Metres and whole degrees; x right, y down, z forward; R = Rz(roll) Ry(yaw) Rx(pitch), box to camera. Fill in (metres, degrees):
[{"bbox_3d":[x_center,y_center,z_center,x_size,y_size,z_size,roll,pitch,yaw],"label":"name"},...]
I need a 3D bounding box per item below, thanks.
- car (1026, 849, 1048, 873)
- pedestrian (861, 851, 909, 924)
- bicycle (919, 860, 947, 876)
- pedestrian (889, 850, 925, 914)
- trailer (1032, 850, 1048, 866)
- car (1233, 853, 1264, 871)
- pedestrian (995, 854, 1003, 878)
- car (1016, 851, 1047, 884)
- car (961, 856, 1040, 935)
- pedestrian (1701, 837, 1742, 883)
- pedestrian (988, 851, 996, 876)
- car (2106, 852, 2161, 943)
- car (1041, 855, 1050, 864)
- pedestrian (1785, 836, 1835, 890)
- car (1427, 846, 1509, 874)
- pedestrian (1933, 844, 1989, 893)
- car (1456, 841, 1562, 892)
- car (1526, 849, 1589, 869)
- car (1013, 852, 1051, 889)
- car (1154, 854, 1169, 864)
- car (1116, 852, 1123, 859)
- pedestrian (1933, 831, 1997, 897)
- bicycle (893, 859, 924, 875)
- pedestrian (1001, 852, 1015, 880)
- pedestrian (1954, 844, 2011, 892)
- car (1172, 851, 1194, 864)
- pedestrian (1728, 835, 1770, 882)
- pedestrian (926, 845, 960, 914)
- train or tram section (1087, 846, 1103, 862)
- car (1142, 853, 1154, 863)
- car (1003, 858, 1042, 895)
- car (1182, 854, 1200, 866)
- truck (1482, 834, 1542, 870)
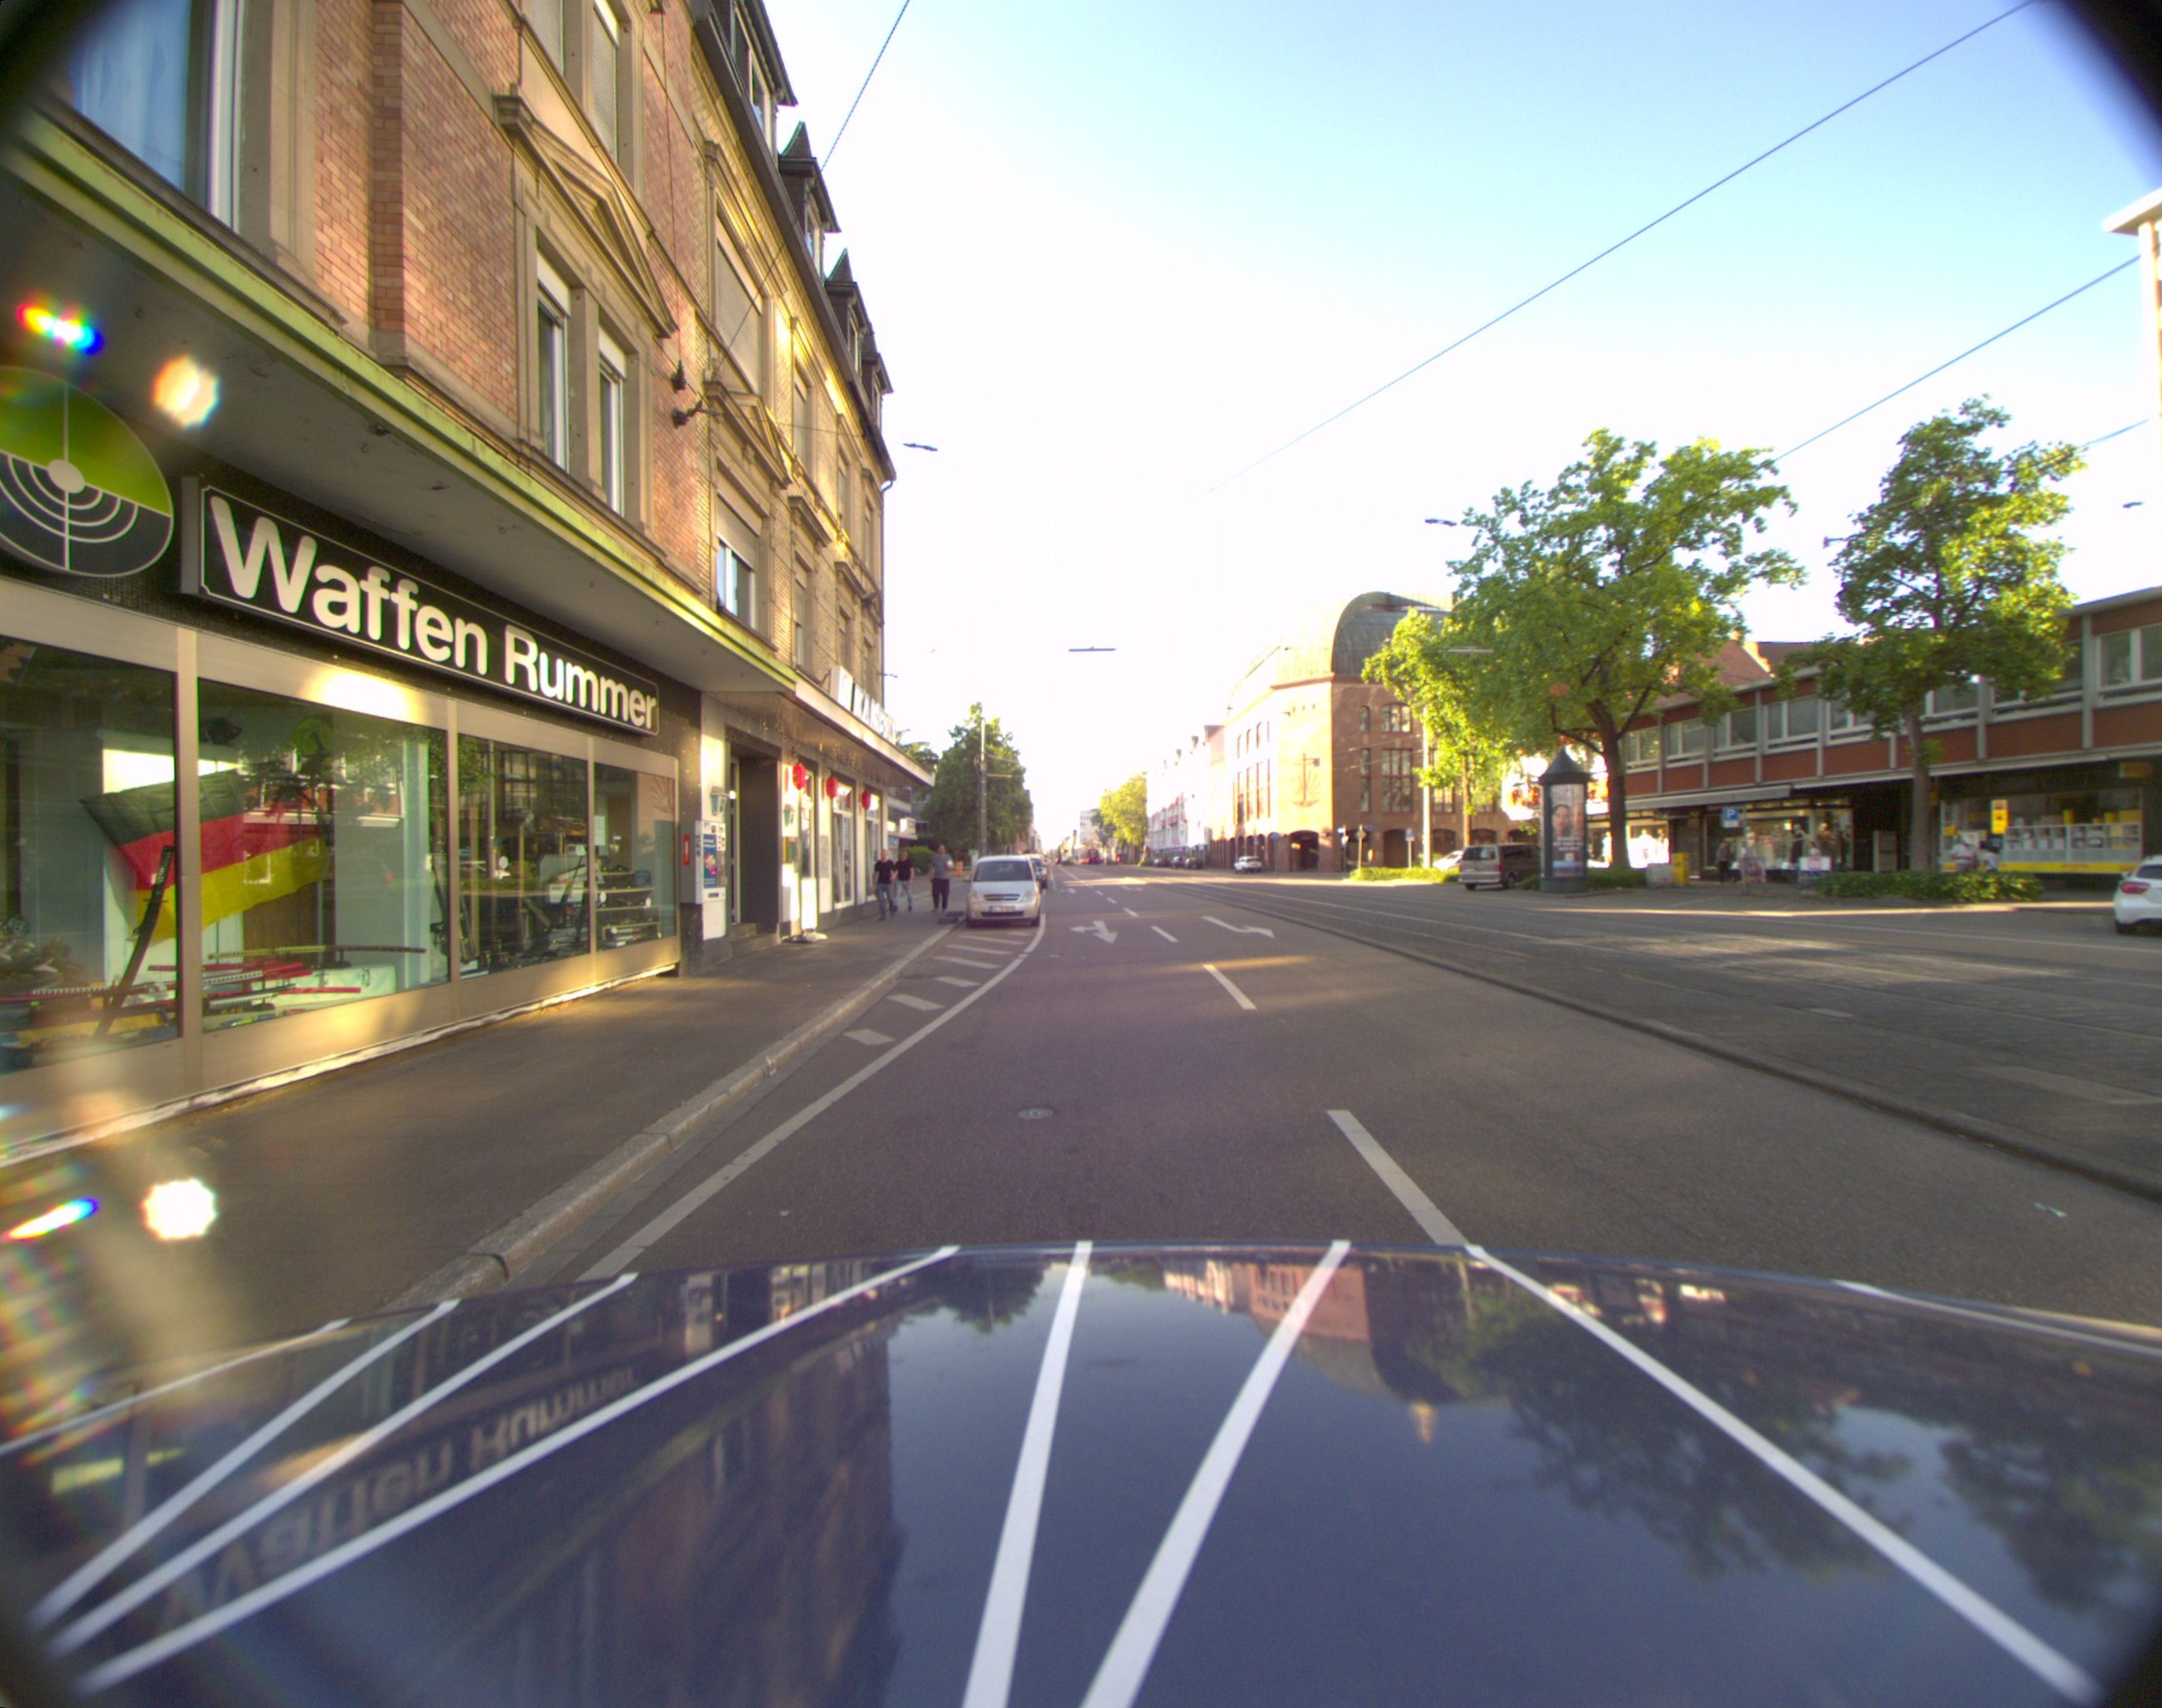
[{"bbox_3d":[-4.042,0.614,69.925,1.882,2.009,4.904,-2,0,-2],"label":"car"},{"bbox_3d":[-4.753,0.787,18.495,0.903,1.703,1.032,2,0,-5],"label":"pedestrian"},{"bbox_3d":[-10.392,0.991,53.551,1.886,1.090,0.469,0,1,-4],"label":"bicycle"},{"bbox_3d":[-4.861,0.772,21.280,0.813,1.746,1.032,0,1,-3],"label":"pedestrian"},{"bbox_3d":[-5.663,0.567,104.941,1.784,2.136,5.315,-2,0,0],"label":"trailer"},{"bbox_3d":[15.502,0.689,70.689,1.600,1.581,4.276,-3,0,-4],"label":"car"},{"bbox_3d":[-5.701,0.838,52.869,0.494,1.703,0.437,2,1,-3],"label":"pedestrian"},{"bbox_3d":[-2.914,0.754,45.264,1.680,1.797,4.247,-2,0,-3],"label":"car"},{"bbox_3d":[-1.830,0.893,18.141,1.642,1.605,3.943,-1,0,-4],"label":"car"},{"bbox_3d":[26.623,0.245,31.593,0.919,1.867,0.900,-1,1,-5],"label":"pedestrian"},{"bbox_3d":[-6.240,0.654,53.285,0.494,1.703,0.437,2,1,-3],"label":"pedestrian"},{"bbox_3d":[20.673,0.754,14.093,4.276,1.421,1.762,-3,1,-34],"label":"car"},{"bbox_3d":[-5.901,0.904,126.339,1.420,1.425,3.871,-2,0,-3],"label":"car"},{"bbox_3d":[25.862,0.323,26.982,0.919,1.867,0.900,-1,1,-5],"label":"pedestrian"},{"bbox_3d":[28.527,0.419,56.163,4.993,1.957,2.130,-1,3,-4],"label":"car"},{"bbox_3d":[27.309,0.428,23.594,0.689,1.488,0.900,-1,0,-5],"label":"pedestrian"},{"bbox_3d":[18.567,0.473,32.906,5.130,1.918,1.849,-3,2,-34],"label":"car"},{"bbox_3d":[38.029,0.380,60.769,1.856,1.564,4.528,-1,0,-7],"label":"car"},{"bbox_3d":[-2.572,0.837,40.536,1.825,1.747,4.473,-2,1,-3],"label":"car"},{"bbox_3d":[13.030,0.751,123.235,1.829,1.500,4.559,-2,0,-2],"label":"car"},{"bbox_3d":[11.213,0.476,223.315,1.861,1.914,3.999,0,0,-1],"label":"car"},{"bbox_3d":[25.737,0.297,22.148,0.917,1.867,0.902,0,1,26],"label":"pedestrian"},{"bbox_3d":[-11.938,0.884,52.708,2.020,1.089,0.637,1,0,-9],"label":"bicycle"},{"bbox_3d":[-4.671,0.761,48.650,0.789,1.727,0.945,-1,1,-3],"label":"pedestrian"},{"bbox_3d":[28.028,0.421,23.630,0.689,1.462,0.900,-1,0,-5],"label":"pedestrian"},{"bbox_3d":[13.972,0.453,104.322,1.964,1.690,4.559,-2,0,-4],"label":"car"},{"bbox_3d":[27.810,0.188,31.648,0.996,1.937,0.900,-1,1,-5],"label":"pedestrian"},{"bbox_3d":[-3.890,0.701,21.498,0.796,1.888,1.032,0,1,-3],"label":"pedestrian"},{"bbox_3d":[3.119,-0.055,173.353,2.683,3.530,12.837,0,0,-3],"label":"train or tram section"},{"bbox_3d":[12.280,0.636,139.138,1.931,1.787,4.383,-1,0,1],"label":"car"},{"bbox_3d":[-2.682,0.993,35.241,1.642,1.484,3.793,-3,0,-4],"label":"car"},{"bbox_3d":[14.159,0.746,97.523,1.646,1.392,3.682,-2,0,-2],"label":"car"},{"bbox_3d":[34.226,-0.187,60.528,1.856,2.747,4.528,-1,0,-7],"label":"truck"}]
